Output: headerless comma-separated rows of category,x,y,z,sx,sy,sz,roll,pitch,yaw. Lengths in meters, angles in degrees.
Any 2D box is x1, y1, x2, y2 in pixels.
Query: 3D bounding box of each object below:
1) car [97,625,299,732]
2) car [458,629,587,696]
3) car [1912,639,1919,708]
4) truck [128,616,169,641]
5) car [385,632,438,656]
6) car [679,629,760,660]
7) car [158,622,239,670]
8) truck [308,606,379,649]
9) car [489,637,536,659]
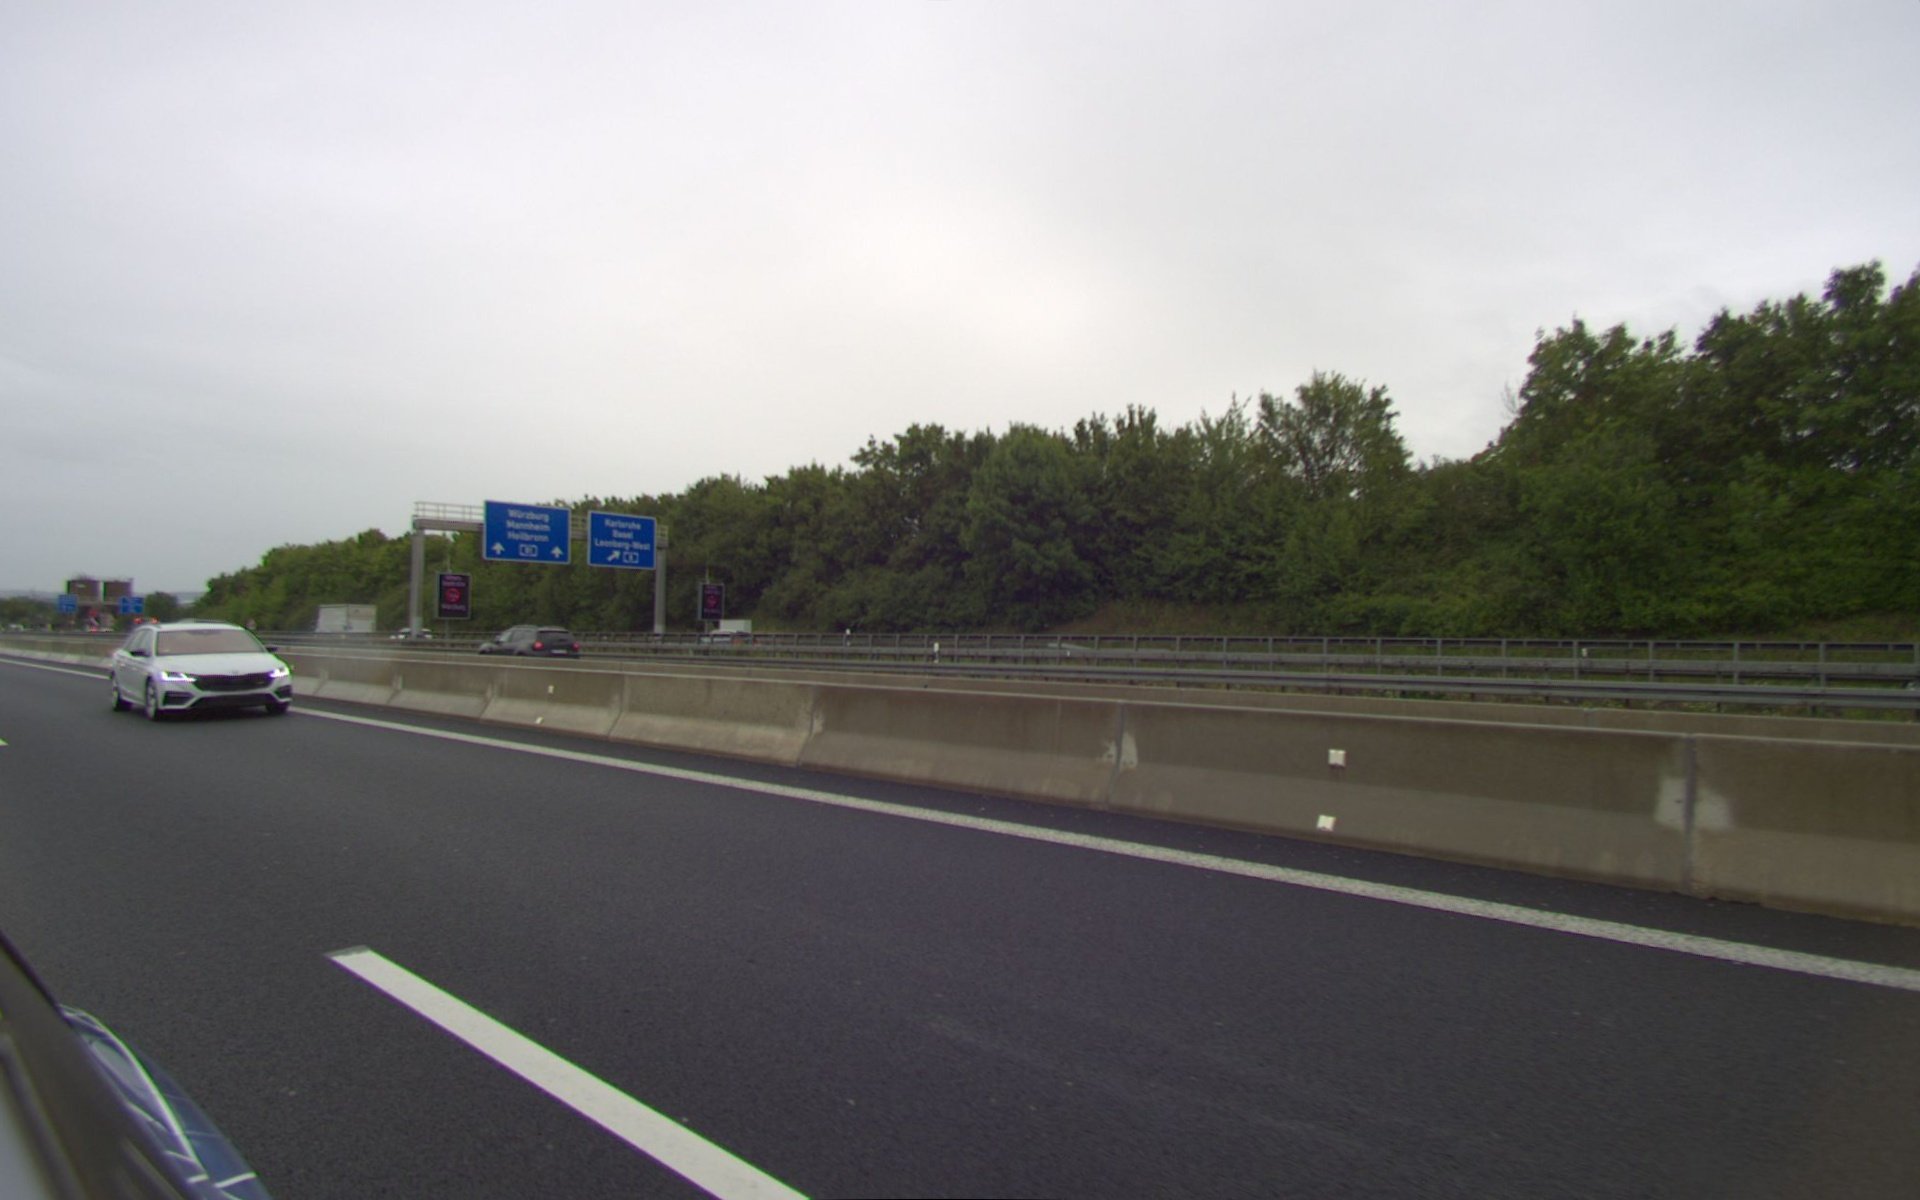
car,-12.580,1.162,16.594,4.777,1.467,1.799,-1,-1,42
car,-14.660,2.002,33.778,4.979,2.029,1.973,-1,-1,41
car,25.521,1.808,24.056,4.055,1.644,1.800,-1,-1,40
truck,-110.226,3.823,137.388,9.074,3.245,2.821,-1,-1,41
car,-37.335,2.965,68.883,4.630,1.467,1.658,-1,-1,41
car,-12.561,2.272,52.657,4.471,1.504,1.800,-1,-1,40
car,-34.773,2.051,46.158,4.979,2.029,1.973,-1,-1,41
truck,-58.959,2.593,96.612,9.630,3.908,3.042,-1,-1,41
car,-33.059,3.546,74.783,3.998,1.467,1.658,-1,-1,41
